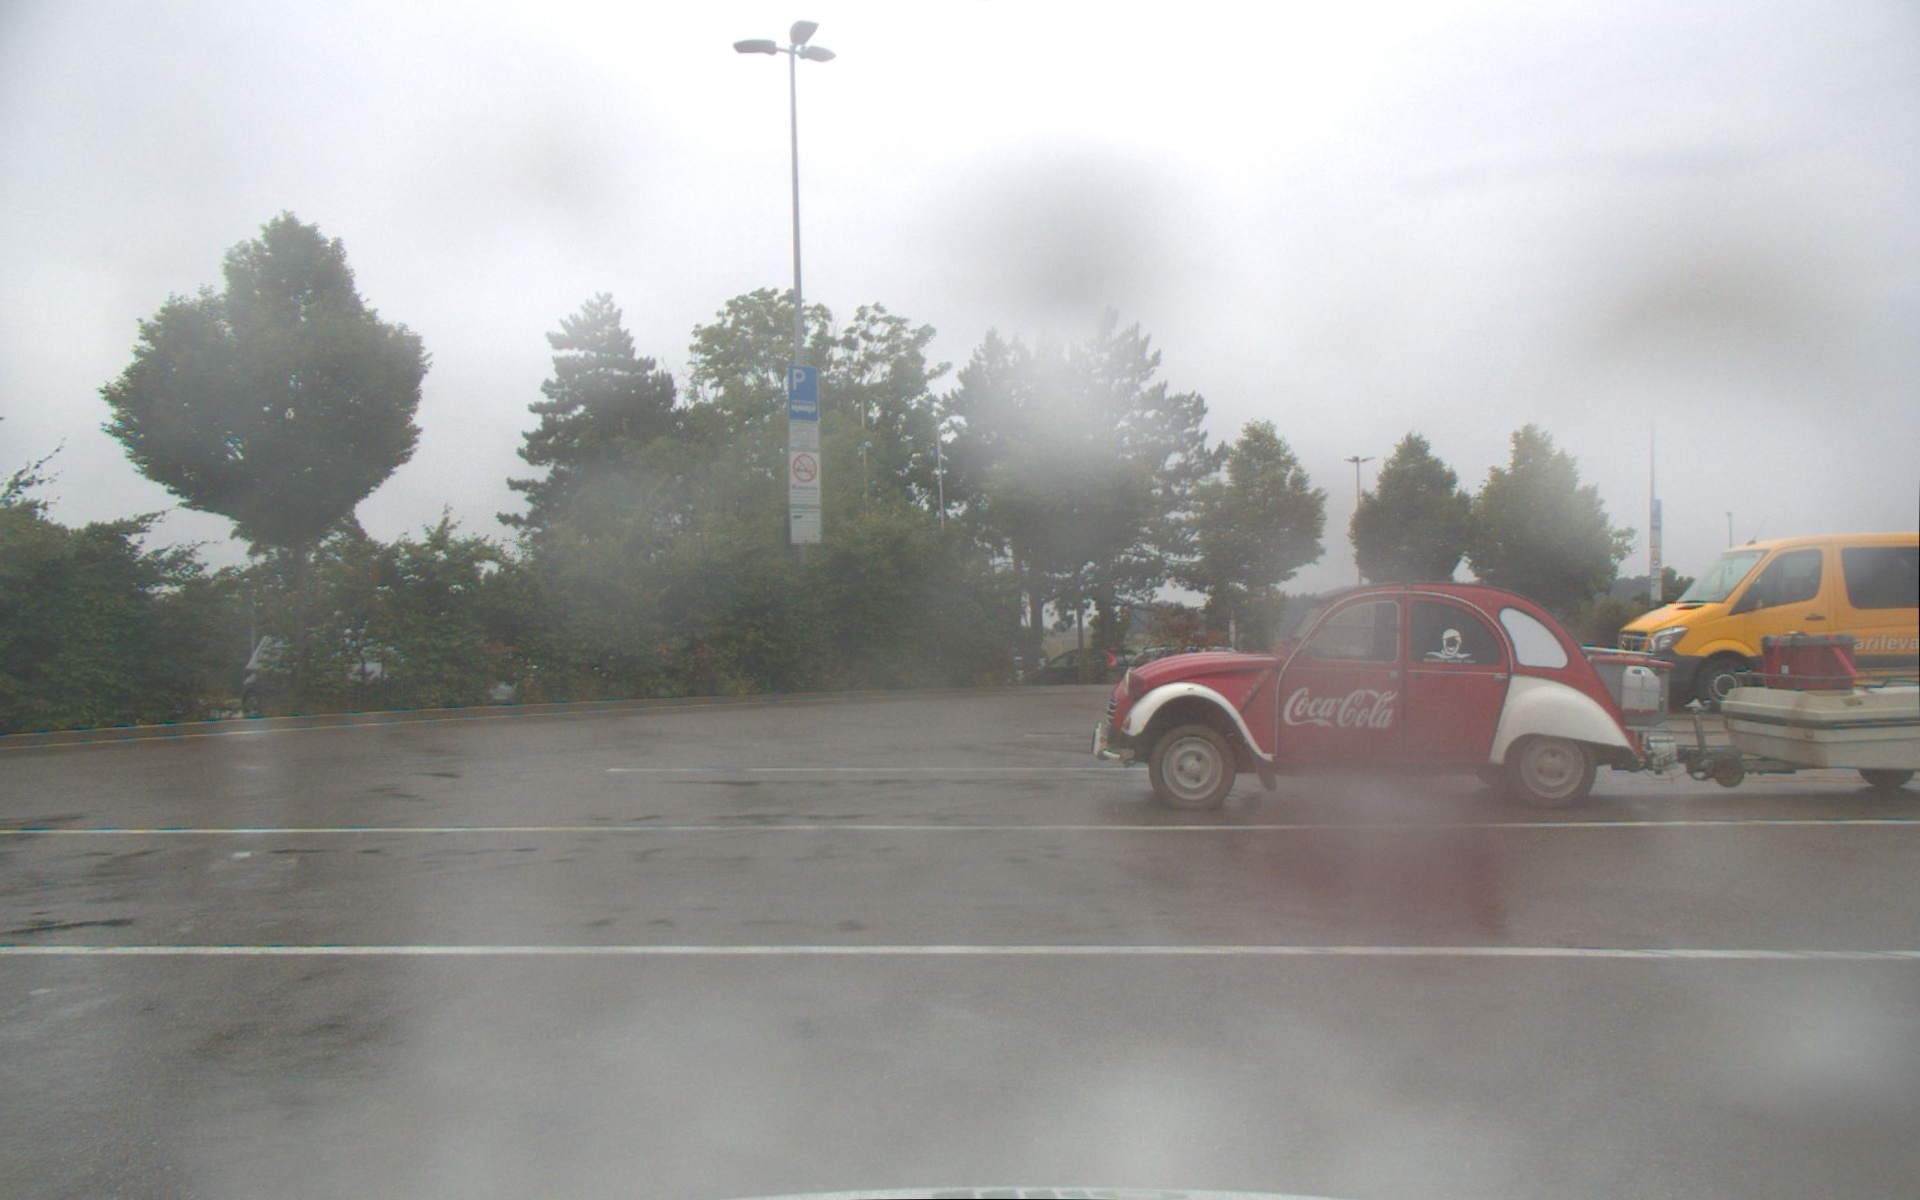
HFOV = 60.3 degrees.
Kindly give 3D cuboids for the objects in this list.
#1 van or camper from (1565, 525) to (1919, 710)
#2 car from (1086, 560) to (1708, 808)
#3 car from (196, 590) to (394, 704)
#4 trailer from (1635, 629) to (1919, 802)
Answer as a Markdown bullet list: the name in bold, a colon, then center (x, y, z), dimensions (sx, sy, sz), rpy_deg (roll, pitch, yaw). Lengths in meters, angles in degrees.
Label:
- **van or camper**: center (11.600, 0.204, 22.049), dimensions (6.262, 2.286, 2.136), rpy_deg (-1, 0, 4)
- **car**: center (2.921, 0.564, 11.629), dimensions (3.957, 1.583, 1.551), rpy_deg (-1, 0, 7)
- **car**: center (-10.787, 0.734, 26.686), dimensions (1.770, 1.657, 4.034), rpy_deg (-2, 0, -40)
- **trailer**: center (6.395, 0.750, 11.331), dimensions (2.956, 1.086, 1.590), rpy_deg (0, -1, 7)
